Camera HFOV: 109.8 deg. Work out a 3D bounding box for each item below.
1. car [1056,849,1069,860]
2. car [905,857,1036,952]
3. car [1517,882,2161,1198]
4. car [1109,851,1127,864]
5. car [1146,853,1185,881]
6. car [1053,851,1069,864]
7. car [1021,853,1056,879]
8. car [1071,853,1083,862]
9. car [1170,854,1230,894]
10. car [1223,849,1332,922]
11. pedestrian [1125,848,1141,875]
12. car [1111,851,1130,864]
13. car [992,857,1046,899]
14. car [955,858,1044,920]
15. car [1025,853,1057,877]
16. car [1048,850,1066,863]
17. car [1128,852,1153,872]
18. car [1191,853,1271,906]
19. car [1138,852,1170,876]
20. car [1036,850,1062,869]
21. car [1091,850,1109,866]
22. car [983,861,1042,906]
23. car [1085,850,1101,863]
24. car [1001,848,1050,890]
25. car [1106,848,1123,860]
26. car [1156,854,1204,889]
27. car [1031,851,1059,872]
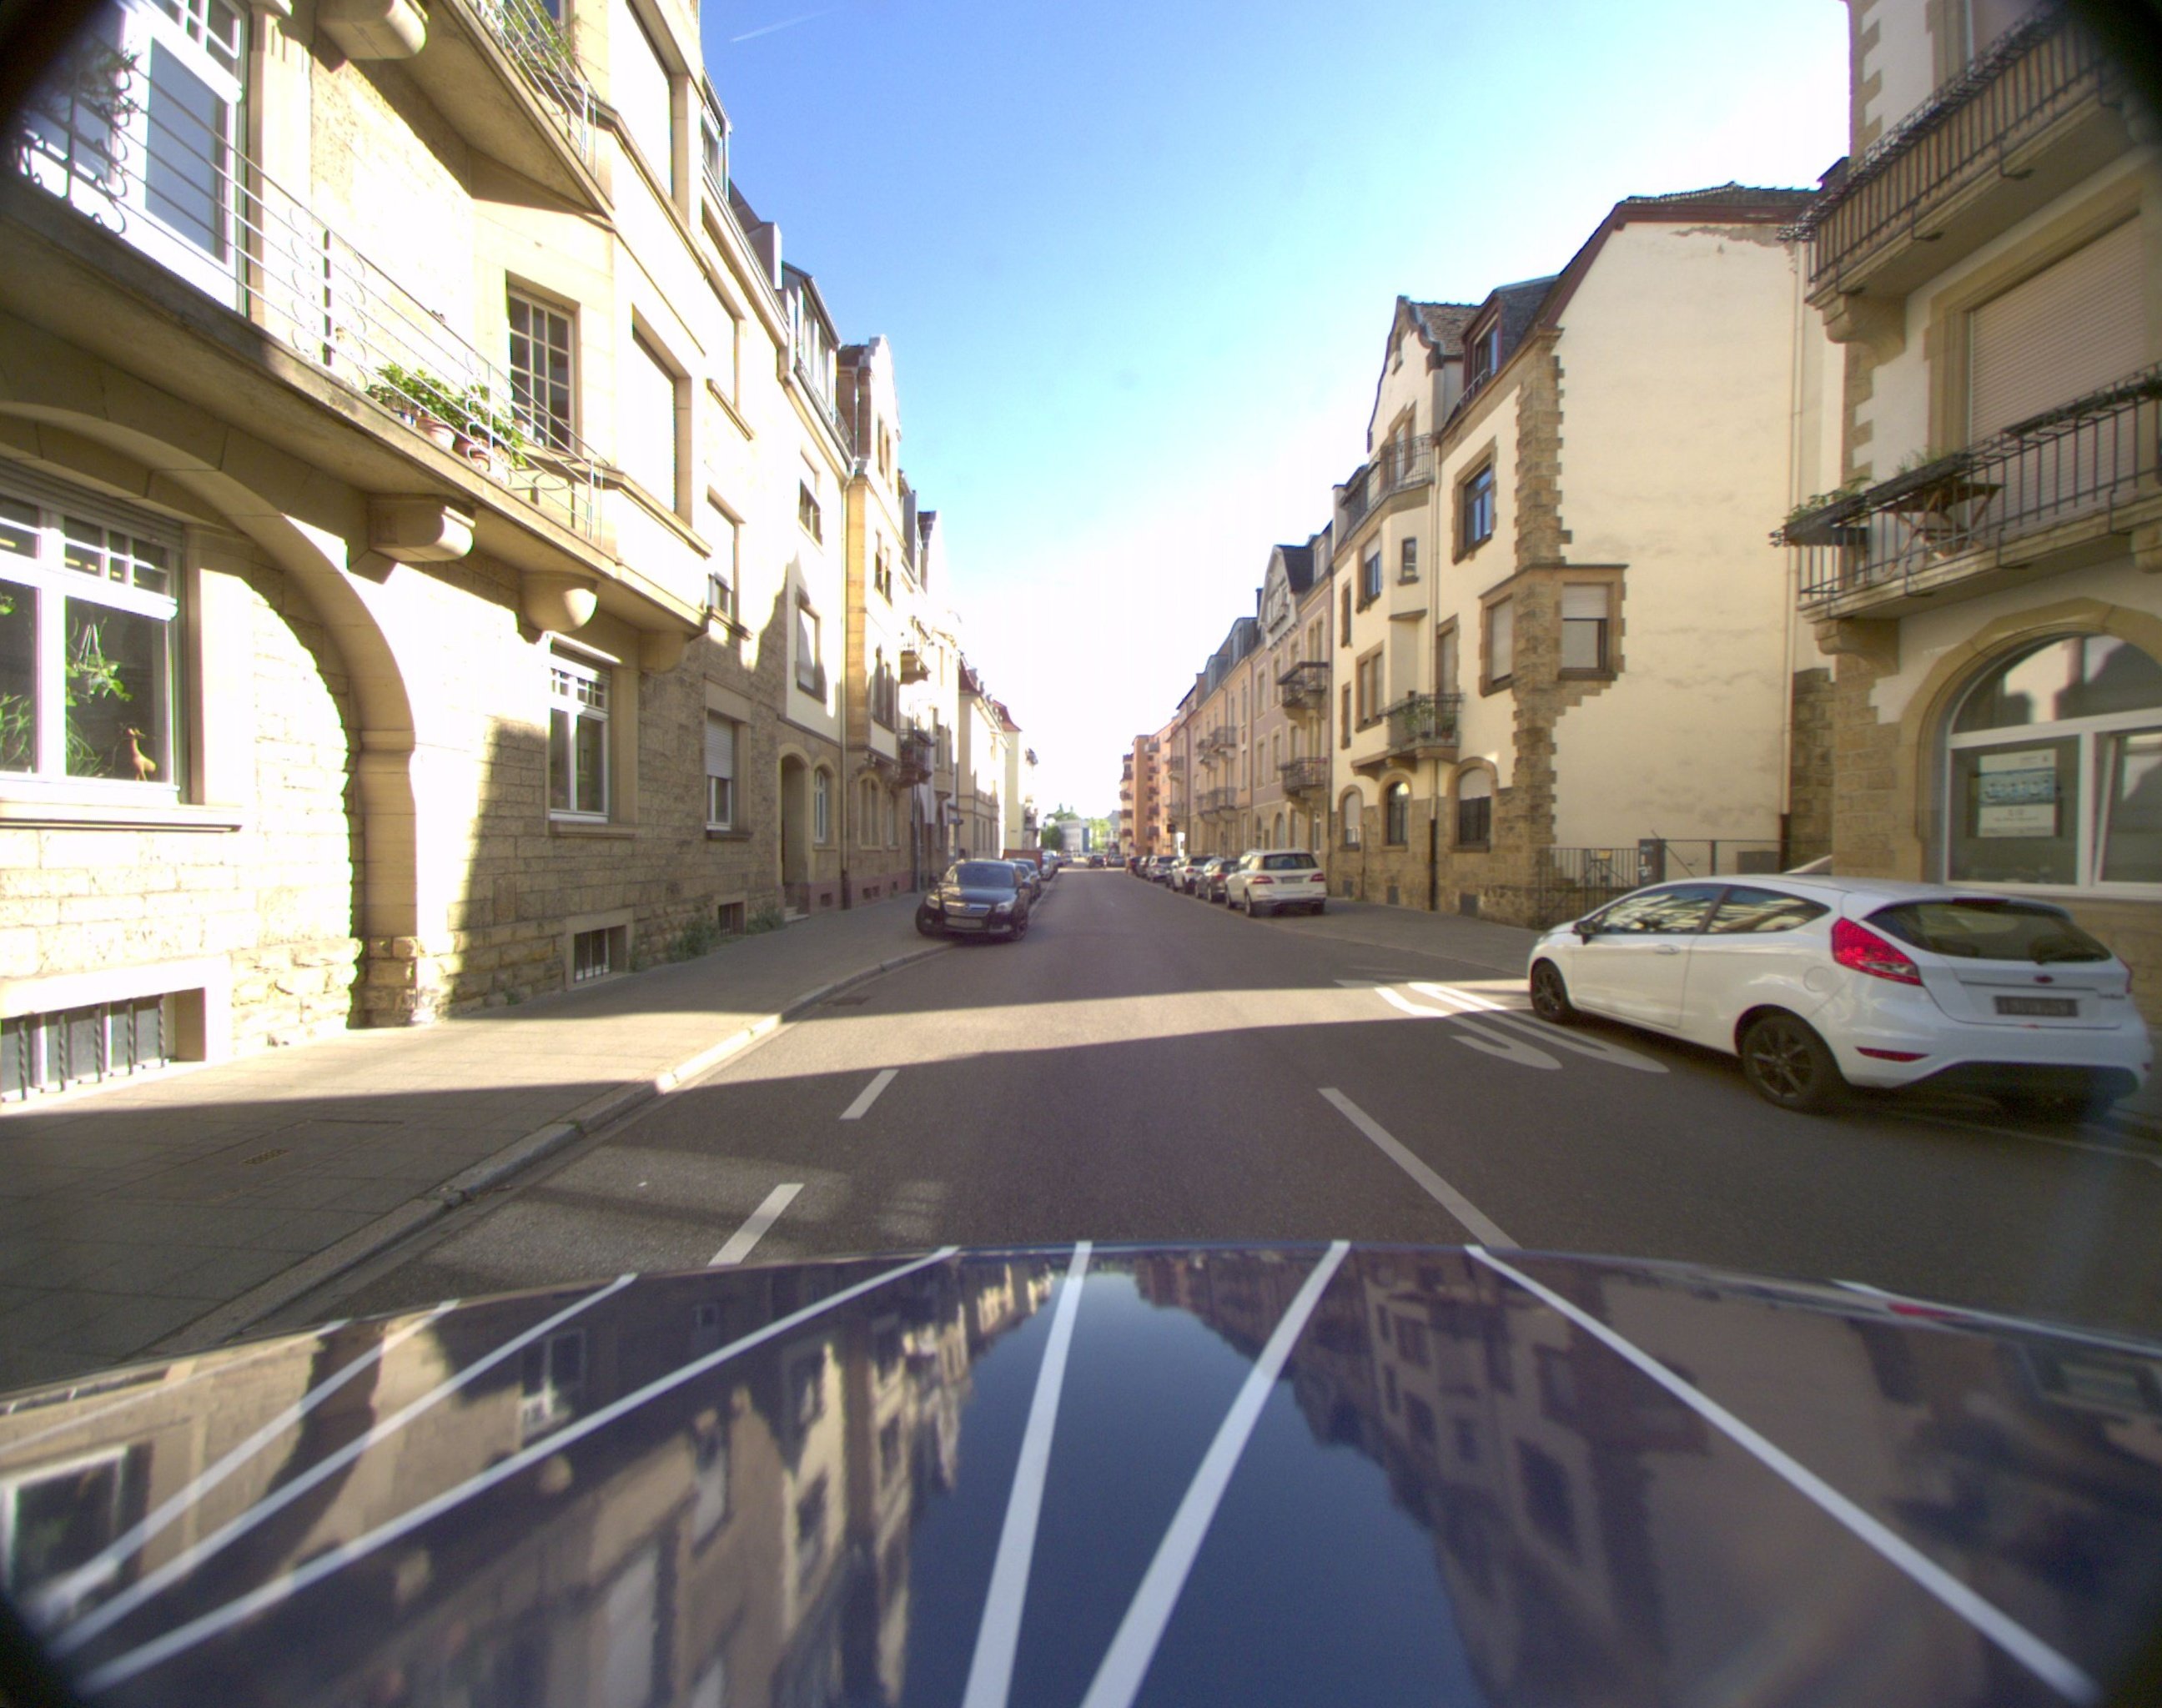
[{"bbox_3d":[-2.935,0.074,123.340,2.005,1.722,4.320,1,1,-1],"label":"car"},{"bbox_3d":[-2.035,0.884,15.223,2.024,1.500,4.111,2,1,-1],"label":"car"},{"bbox_3d":[5.113,1.016,5.682,1.656,1.449,3.643,2,0,2],"label":"car"},{"bbox_3d":[4.628,0.397,96.210,2.005,1.500,4.320,1,1,-1],"label":"car"},{"bbox_3d":[5.024,0.737,45.836,1.890,1.500,4.320,-2,1,1],"label":"car"},{"bbox_3d":[-2.578,0.436,99.957,2.005,1.500,4.320,1,1,-1],"label":"car"},{"bbox_3d":[-2.649,0.720,47.871,2.005,1.500,4.320,1,1,-1],"label":"car"},{"bbox_3d":[-0.741,0.570,130.477,2.005,1.500,4.320,1,1,-1],"label":"car"},{"bbox_3d":[4.987,0.798,32.370,1.890,1.500,4.320,-2,1,1],"label":"car"},{"bbox_3d":[5.198,0.754,20.700,1.890,1.717,4.211,-2,1,1],"label":"car"},{"bbox_3d":[3.896,0.573,57.327,1.065,2.002,0.953,-2,1,8],"label":"pedestrian"},{"bbox_3d":[4.678,0.413,91.395,2.005,1.500,4.320,1,1,-1],"label":"car"},{"bbox_3d":[-2.382,0.893,30.124,1.824,1.415,4.320,1,1,-1],"label":"car"},{"bbox_3d":[-2.094,0.876,20.803,2.005,1.499,4.321,1,0,-1],"label":"car"},{"bbox_3d":[-2.744,0.740,52.645,2.005,1.500,4.320,1,1,-1],"label":"car"},{"bbox_3d":[-2.839,0.271,88.983,2.005,1.500,4.320,1,1,-1],"label":"car"},{"bbox_3d":[4.897,0.645,62.977,1.793,1.500,4.320,-2,1,1],"label":"car"},{"bbox_3d":[5.126,0.823,26.549,1.890,1.500,4.320,-4,1,1],"label":"car"},{"bbox_3d":[4.995,0.672,52.354,1.809,1.500,4.003,-2,1,1],"label":"car"},{"bbox_3d":[-2.668,0.455,64.503,2.005,1.500,4.320,1,1,-1],"label":"car"},{"bbox_3d":[1.804,0.371,74.369,1.656,1.449,3.642,0,1,-1],"label":"car"},{"bbox_3d":[-2.231,0.929,25.382,1.661,1.272,3.729,1,1,-1],"label":"car"},{"bbox_3d":[1.472,0.271,91.700,1.702,1.474,3.535,1,0,2],"label":"car"},{"bbox_3d":[-2.555,0.653,35.745,2.005,1.828,4.320,1,1,-1],"label":"car"},{"bbox_3d":[4.524,0.009,101.915,2.005,1.500,4.320,1,1,-1],"label":"car"},{"bbox_3d":[4.859,0.820,37.810,1.857,1.491,4.318,-2,1,1],"label":"car"},{"bbox_3d":[-2.741,0.539,58.670,2.005,1.500,4.320,1,1,-1],"label":"car"}]
